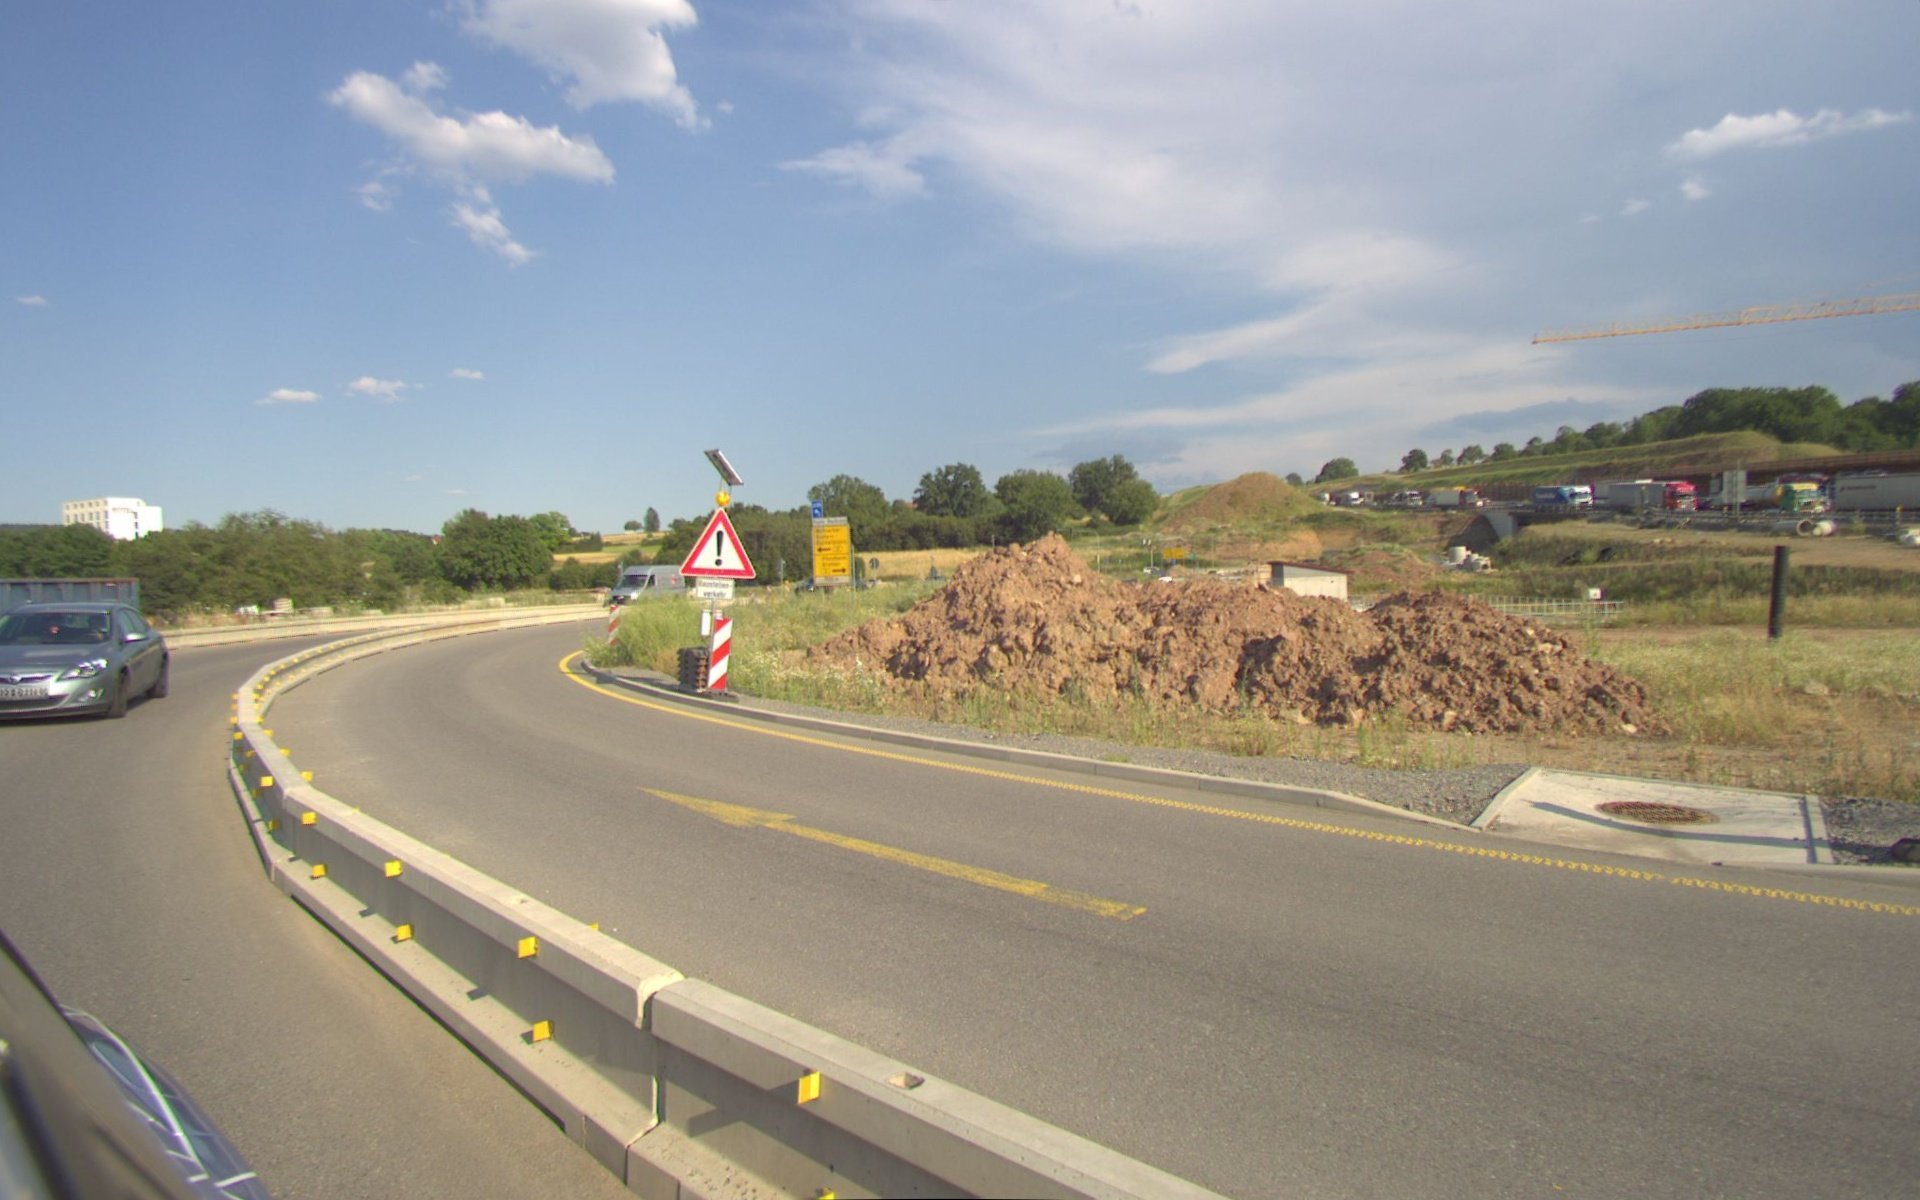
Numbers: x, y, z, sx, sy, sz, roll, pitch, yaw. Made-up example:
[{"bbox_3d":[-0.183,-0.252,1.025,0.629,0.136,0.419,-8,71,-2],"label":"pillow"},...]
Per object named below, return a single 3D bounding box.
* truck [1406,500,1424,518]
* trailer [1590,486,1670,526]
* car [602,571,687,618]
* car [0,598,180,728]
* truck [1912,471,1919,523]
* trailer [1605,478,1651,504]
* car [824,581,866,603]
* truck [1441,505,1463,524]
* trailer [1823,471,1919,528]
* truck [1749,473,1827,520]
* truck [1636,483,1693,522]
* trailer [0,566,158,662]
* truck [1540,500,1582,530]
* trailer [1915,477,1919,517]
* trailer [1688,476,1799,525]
[{"bbox_3d":[104.392,-20.833,232.185,1.976,3.491,6.205,-1,1,7],"label":"truck"},{"bbox_3d":[90.258,-12.539,136.807,3.077,4.346,14.218,-1,1,8],"label":"trailer"},{"bbox_3d":[-17.915,-0.393,57.732,1.899,2.519,5.773,-1,1,13],"label":"car"},{"bbox_3d":[-12.199,0.747,13.786,1.718,1.495,4.265,-2,1,-27],"label":"car"},{"bbox_3d":[82.811,-8.752,83.220,3.078,4.346,6.880,-1,1,8],"label":"truck"},{"bbox_3d":[113.862,-18.499,172.752,1.949,3.540,11.148,-1,1,8],"label":"trailer"},{"bbox_3d":[-8.580,-0.626,75.867,1.699,1.530,4.495,0,1,14],"label":"car"},{"bbox_3d":[98.872,-17.167,203.506,1.976,3.491,6.205,-1,1,7],"label":"truck"},{"bbox_3d":[83.688,-8.938,90.125,3.077,4.346,14.218,-1,1,8],"label":"trailer"},{"bbox_3d":[86.288,-10.727,105.632,3.078,4.346,6.880,-1,1,8],"label":"truck"},{"bbox_3d":[89.036,-12.272,128.061,3.078,4.346,6.880,-1,1,8],"label":"truck"},{"bbox_3d":[-25.896,0.381,27.193,2.970,2.432,7.231,-2,1,-1],"label":"trailer"},{"bbox_3d":[92.466,-12.995,155.816,2.495,4.031,8.529,-1,1,9],"label":"truck"},{"bbox_3d":[106.884,-11.335,105.772,3.080,4.346,14.206,-1,1,11],"label":"trailer"},{"bbox_3d":[87.382,-10.949,113.365,3.077,4.346,14.218,-1,1,8],"label":"trailer"}]
